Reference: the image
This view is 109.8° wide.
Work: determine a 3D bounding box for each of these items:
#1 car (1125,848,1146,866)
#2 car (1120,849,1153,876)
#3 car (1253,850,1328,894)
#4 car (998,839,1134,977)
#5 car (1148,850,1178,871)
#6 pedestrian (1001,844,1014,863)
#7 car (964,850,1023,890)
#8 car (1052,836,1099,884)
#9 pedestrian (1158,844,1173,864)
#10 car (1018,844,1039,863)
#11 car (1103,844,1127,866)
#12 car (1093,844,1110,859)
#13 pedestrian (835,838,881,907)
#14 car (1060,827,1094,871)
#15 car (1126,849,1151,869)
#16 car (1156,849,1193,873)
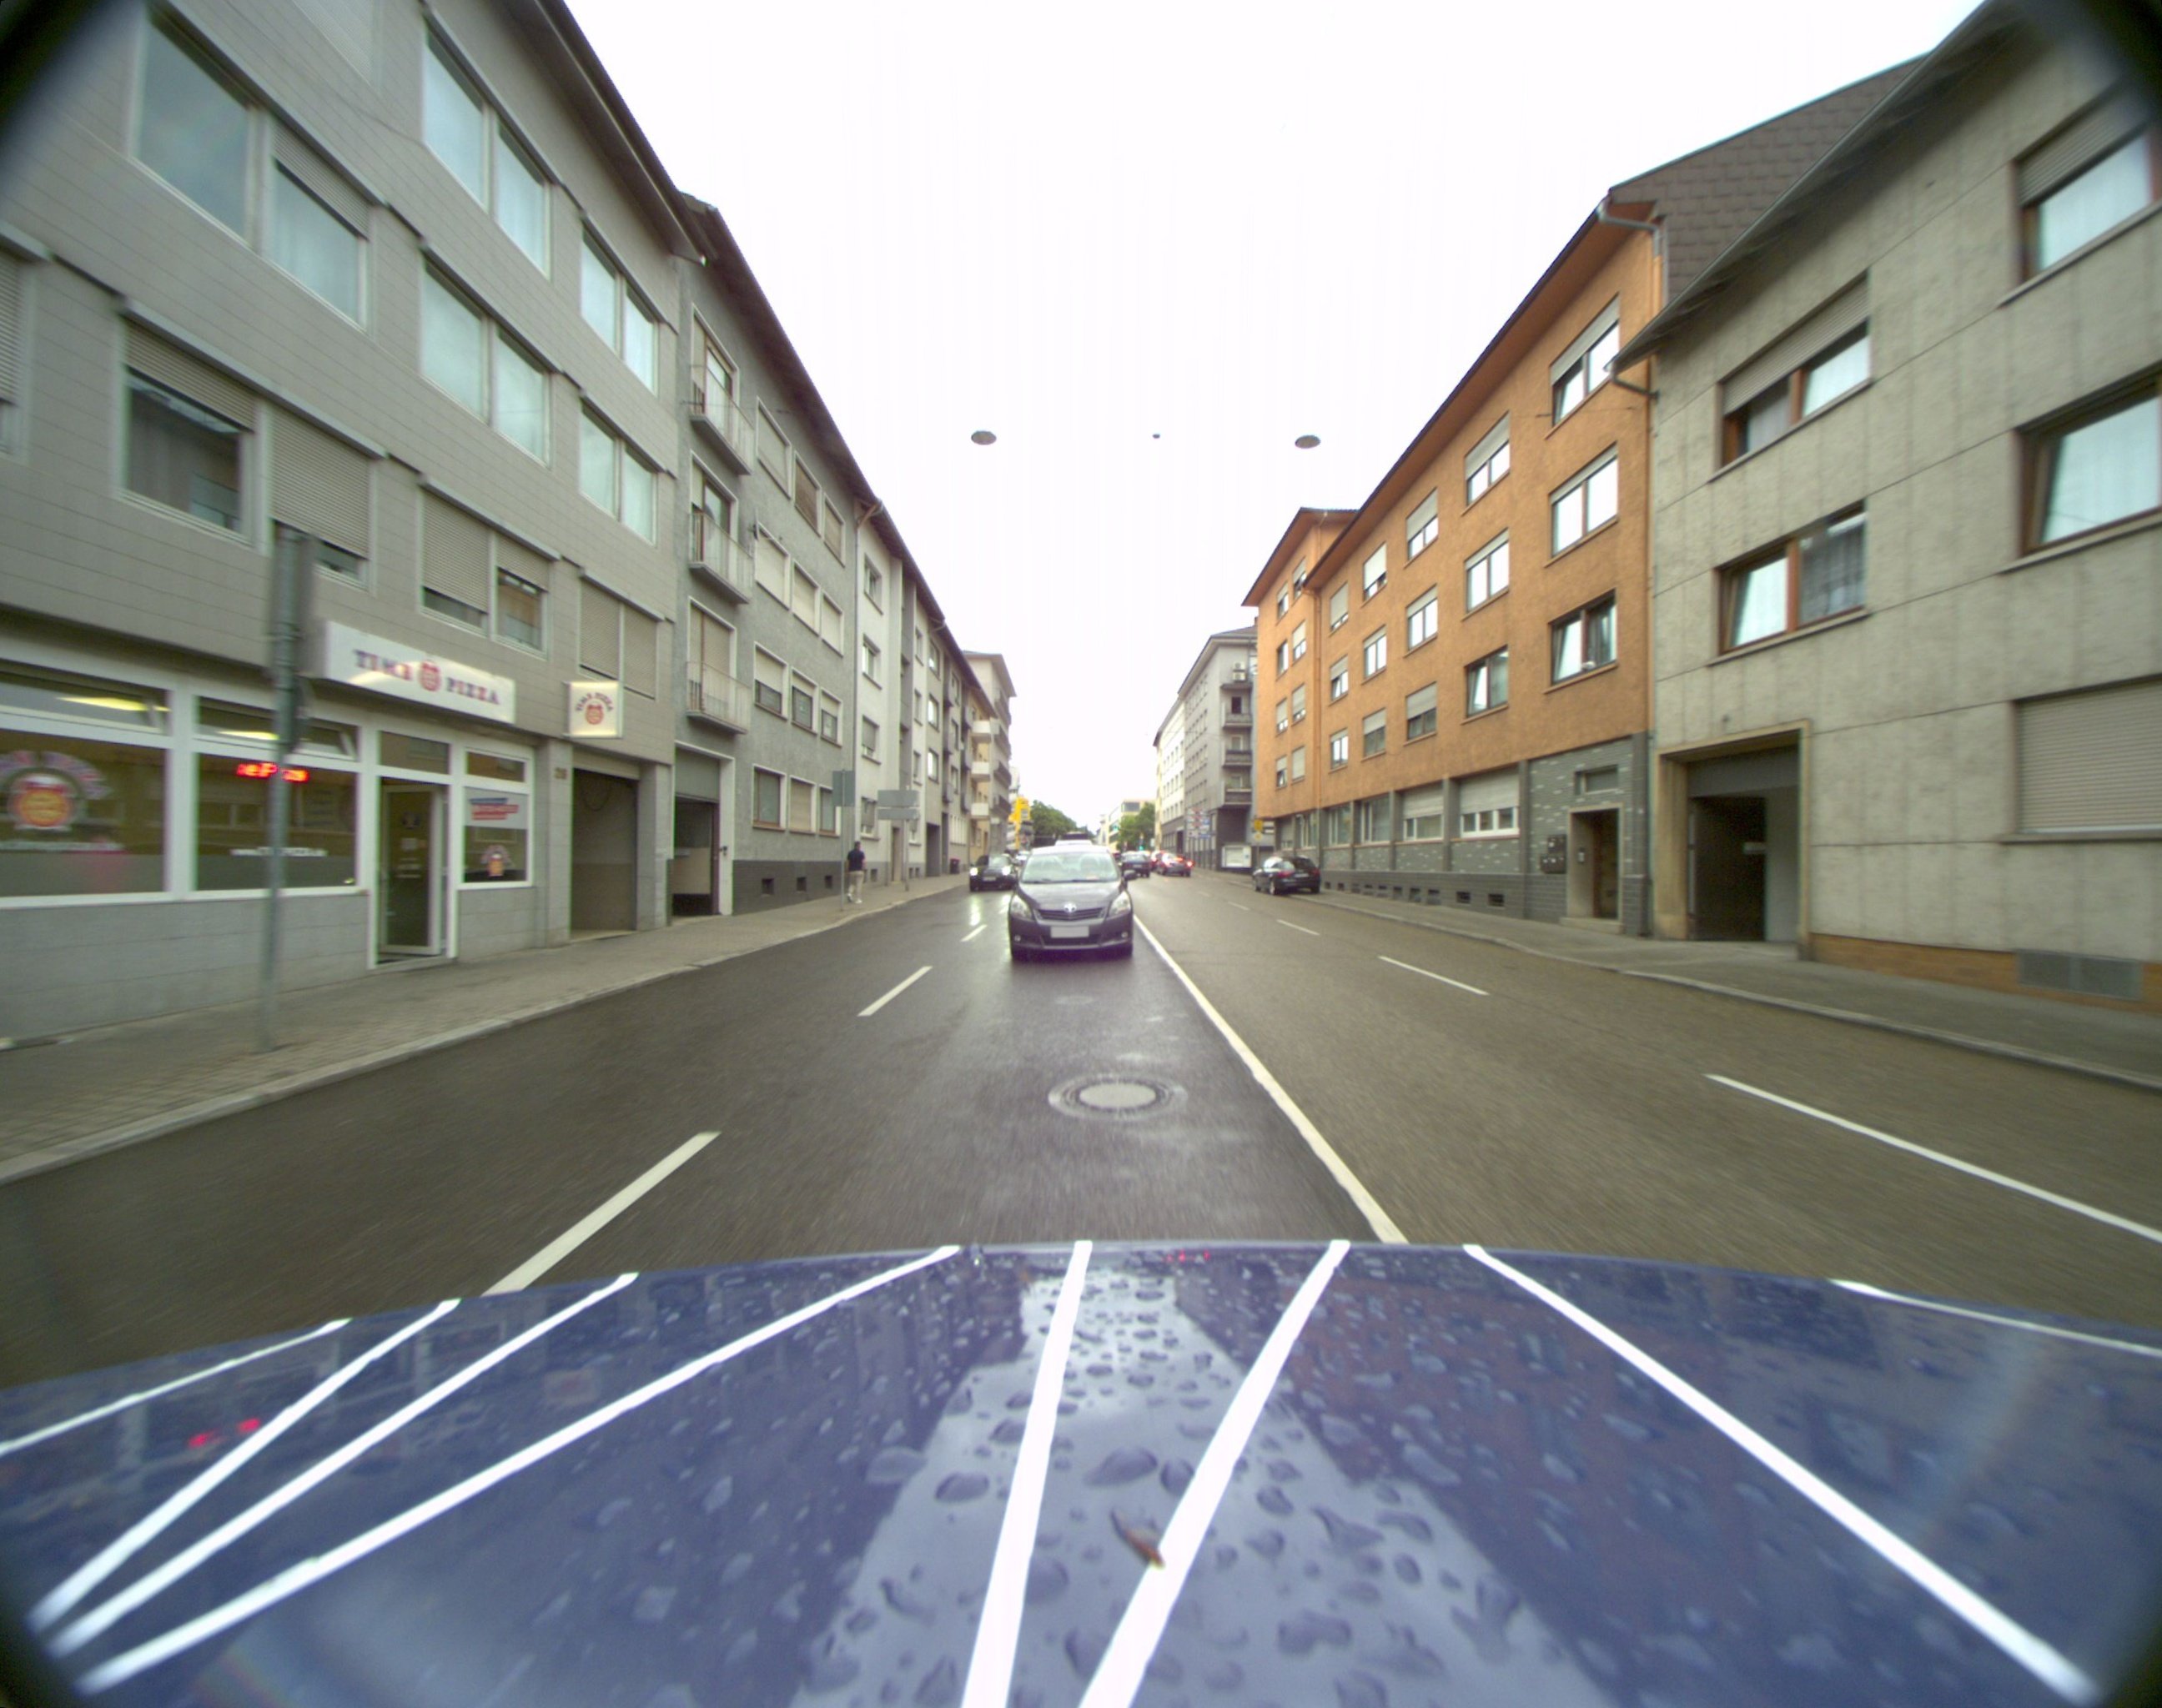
[{"bbox_3d":[5.587,0.302,78.190,1.856,1.651,4.610,-3,1,1],"label":"car"},{"bbox_3d":[3.228,0.450,44.706,1.602,1.362,4.361,2,1,0],"label":"car"},{"bbox_3d":[8.155,0.663,29.998,1.799,1.466,4.217,-3,1,1],"label":"car"},{"bbox_3d":[-0.162,0.669,12.036,1.699,1.712,4.217,-3,1,1],"label":"car"},{"bbox_3d":[6.097,0.440,56.937,1.727,1.464,4.373,2,1,-1],"label":"car"},{"bbox_3d":[-6.885,-0.049,71.246,1.119,1.741,0.960,0,1,-5],"label":"pedestrian"},{"bbox_3d":[-3.542,0.610,31.468,1.856,1.369,4.217,-3,1,1],"label":"car"},{"bbox_3d":[-0.192,0.182,33.133,1.856,1.883,4.217,-3,1,1],"label":"car"},{"bbox_3d":[8.711,-0.012,78.635,1.309,2.002,1.258,-3,2,1],"label":"pedestrian"},{"bbox_3d":[-5.005,-0.111,72.419,1.856,1.663,4.215,-3,1,-4],"label":"car"},{"bbox_3d":[2.717,0.057,62.253,1.699,1.572,4.216,2,2,0],"label":"car"},{"bbox_3d":[2.116,-0.287,77.956,1.699,1.363,4.217,2,2,1],"label":"car"},{"bbox_3d":[-6.375,0.507,21.781,0.871,1.855,1.119,4,2,1],"label":"pedestrian"},{"bbox_3d":[-0.219,-0.367,50.172,2.033,2.732,4.368,-3,2,1],"label":"car"},{"bbox_3d":[4.927,0.392,65.242,1.699,1.531,4.435,4,2,0],"label":"car"},{"bbox_3d":[5.910,0.404,48.619,1.699,1.362,4.364,2,1,-1],"label":"car"}]
